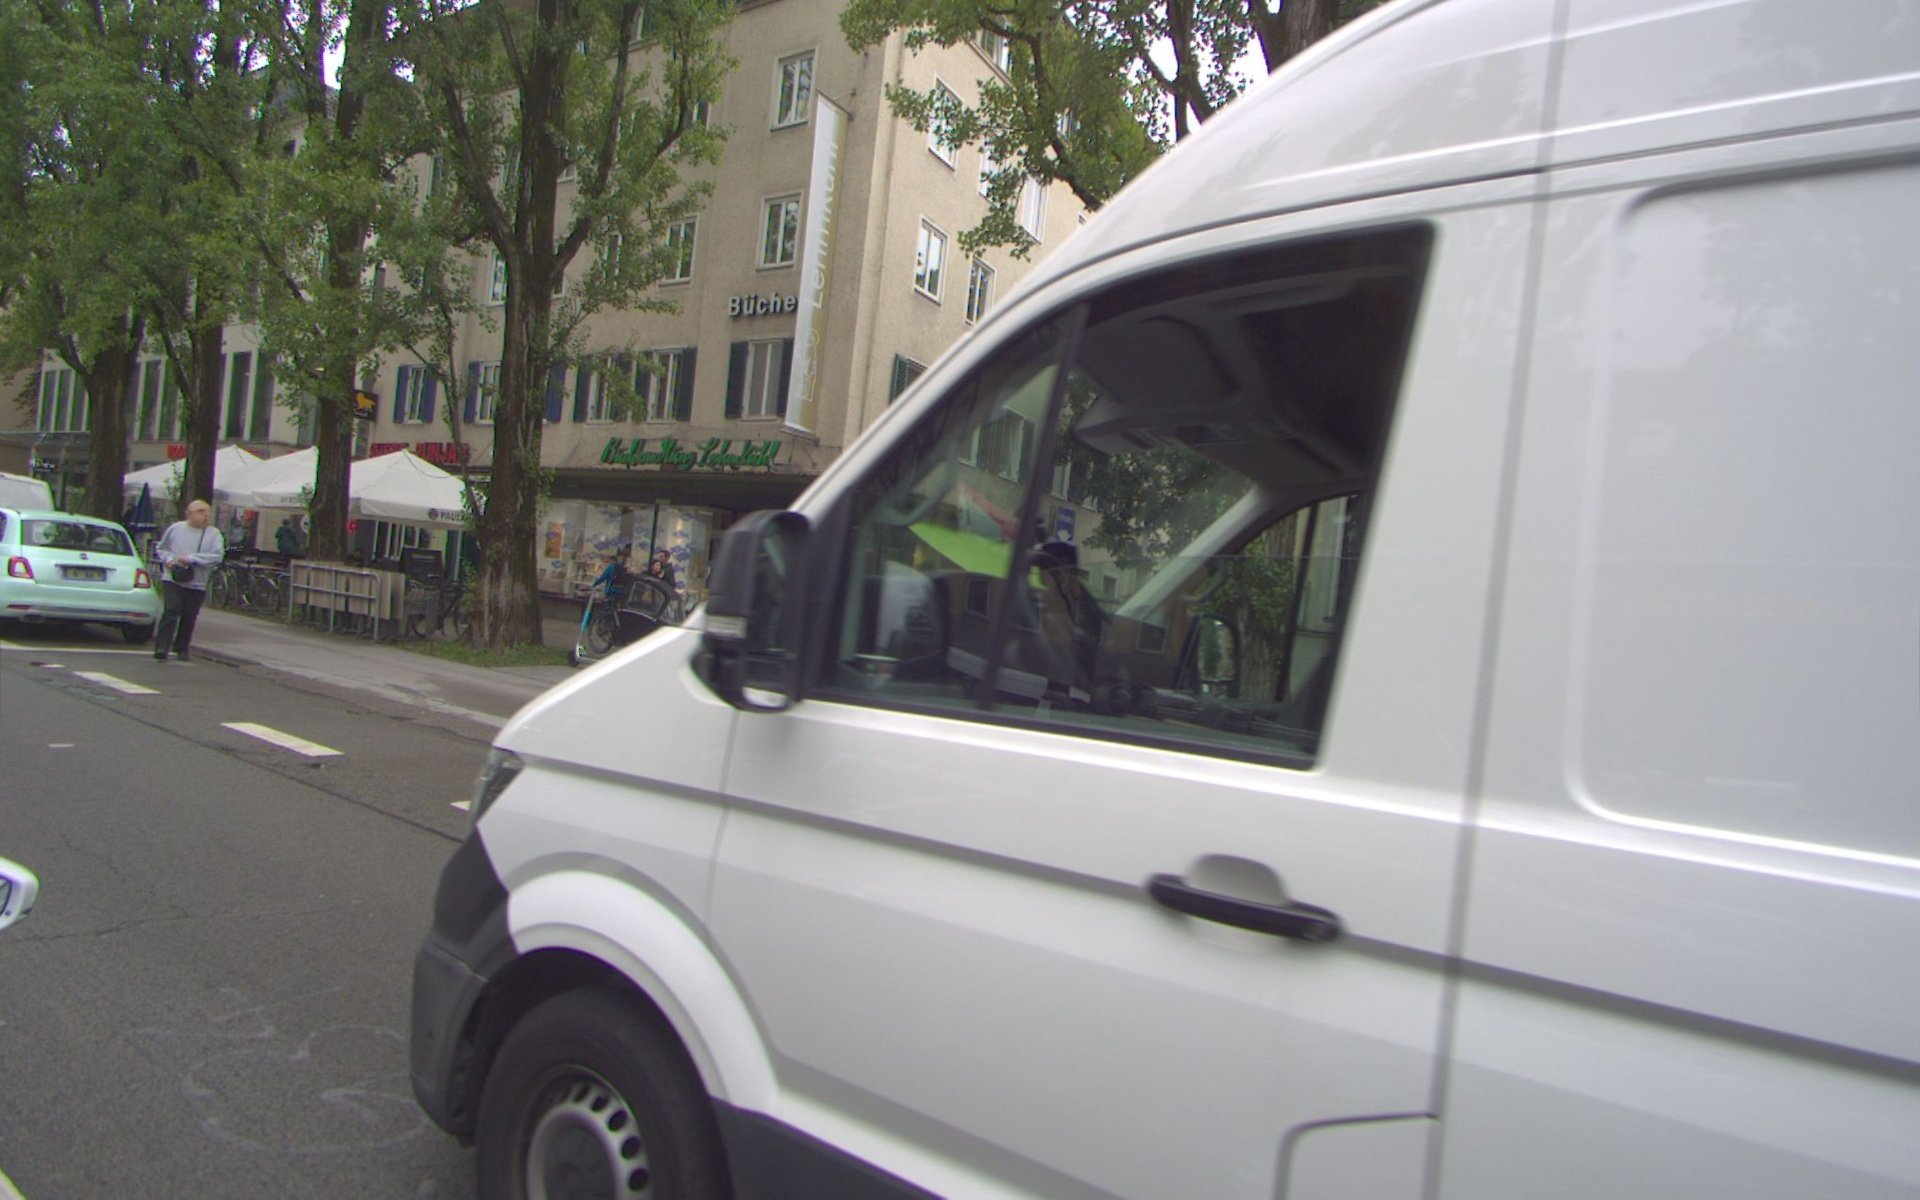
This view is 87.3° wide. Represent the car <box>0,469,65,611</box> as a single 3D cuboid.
[{"bbox_3d":[-15.759,-1.111,15.331,4.652,1.969,1.790,6,-1,32],"label":"car"}]

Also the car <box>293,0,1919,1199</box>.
[{"bbox_3d":[1.925,0.489,1.429,6.619,2.522,2.066,6,-1,32],"label":"car"}]

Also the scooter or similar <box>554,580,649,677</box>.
[{"bbox_3d":[-5.115,0.387,14.328,1.419,1.231,0.327,6,2,28],"label":"scooter or similar"}]

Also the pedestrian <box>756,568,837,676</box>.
[{"bbox_3d":[-2.723,0.373,16.783,0.862,1.699,0.798,7,1,32],"label":"pedestrian"}]

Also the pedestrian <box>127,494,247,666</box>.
[{"bbox_3d":[-8.722,-0.218,11.393,0.821,1.795,0.864,6,0,-30],"label":"pedestrian"}]

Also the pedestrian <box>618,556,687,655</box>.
[{"bbox_3d":[-5.381,0.092,17.608,0.855,1.627,0.617,7,2,29],"label":"pedestrian"}]

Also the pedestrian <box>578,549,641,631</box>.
[{"bbox_3d":[-7.743,-0.215,22.244,0.862,1.698,0.798,7,0,31],"label":"pedestrian"}]

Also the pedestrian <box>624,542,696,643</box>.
[{"bbox_3d":[-5.997,-0.134,20.157,0.735,1.888,0.957,7,0,33],"label":"pedestrian"}]

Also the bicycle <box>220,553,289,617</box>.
[{"bbox_3d":[-12.546,-0.273,17.873,1.429,1.009,0.349,6,2,28],"label":"bicycle"}]

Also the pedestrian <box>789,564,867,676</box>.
[{"bbox_3d":[-2.284,0.359,17.456,0.862,1.818,0.772,7,0,32],"label":"pedestrian"}]

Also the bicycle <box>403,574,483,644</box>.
[{"bbox_3d":[-8.418,0.139,16.370,1.429,1.009,0.349,6,2,28],"label":"bicycle"}]

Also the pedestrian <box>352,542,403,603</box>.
[{"bbox_3d":[-13.806,-0.643,23.860,0.787,1.340,0.639,7,1,31],"label":"pedestrian"}]

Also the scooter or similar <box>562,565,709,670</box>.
[{"bbox_3d":[-5.287,0.264,16.298,2.451,1.394,0.637,7,2,28],"label":"scooter or similar"}]

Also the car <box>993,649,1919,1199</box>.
[{"bbox_3d":[2.479,1.182,3.938,4.268,1.410,1.714,6,-1,28],"label":"car"}]

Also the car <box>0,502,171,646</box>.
[{"bbox_3d":[-11.652,-0.404,12.668,3.465,1.510,1.543,6,-1,33],"label":"car"}]

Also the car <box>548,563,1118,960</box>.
[{"bbox_3d":[-0.722,0.755,5.766,2.683,1.536,1.595,6,-1,30],"label":"car"}]
